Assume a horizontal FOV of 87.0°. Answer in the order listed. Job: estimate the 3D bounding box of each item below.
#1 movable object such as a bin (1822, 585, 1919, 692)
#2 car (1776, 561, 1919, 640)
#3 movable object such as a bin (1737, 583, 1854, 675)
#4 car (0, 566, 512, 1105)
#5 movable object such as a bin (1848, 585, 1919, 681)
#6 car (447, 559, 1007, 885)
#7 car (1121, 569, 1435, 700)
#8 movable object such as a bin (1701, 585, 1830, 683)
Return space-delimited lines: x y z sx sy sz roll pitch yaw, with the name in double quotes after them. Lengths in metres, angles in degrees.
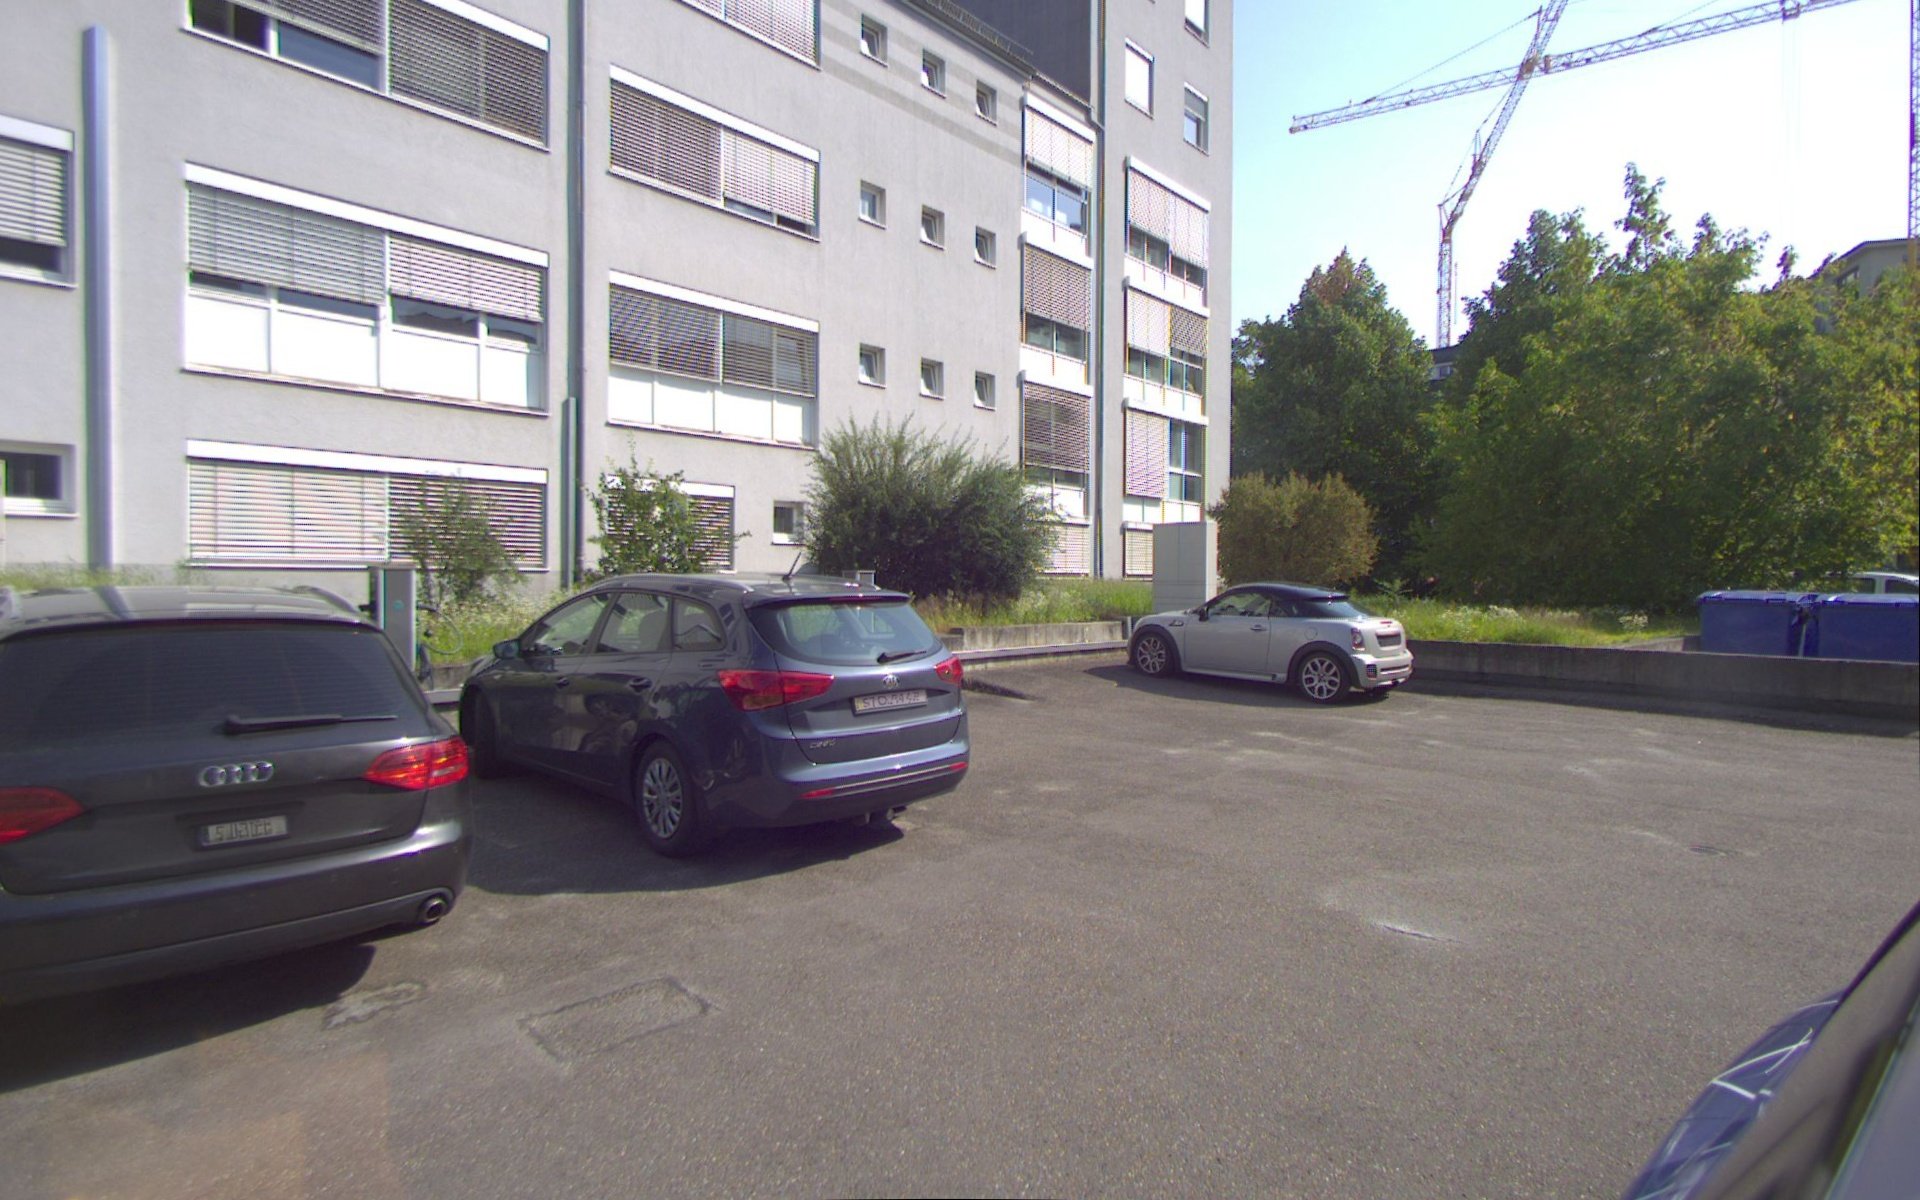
12.562 0.489 13.696 1.253 1.368 1.212 0 1 -42 "movable object such as a bin"
24.151 -0.009 25.898 1.874 1.955 4.790 0 1 -38 "car"
12.977 0.409 15.721 1.252 1.344 1.199 0 1 -40 "movable object such as a bin"
-3.651 0.583 4.638 1.662 1.455 4.238 0 1 -43 "car"
13.776 0.452 14.660 1.252 1.344 1.199 0 1 -40 "movable object such as a bin"
-1.763 0.505 6.687 4.048 1.496 1.714 2 1 45 "car"
4.038 0.342 13.224 1.631 1.455 3.574 0 1 -43 "car"
11.747 0.451 14.757 1.252 1.344 1.256 0 1 -40 "movable object such as a bin"
